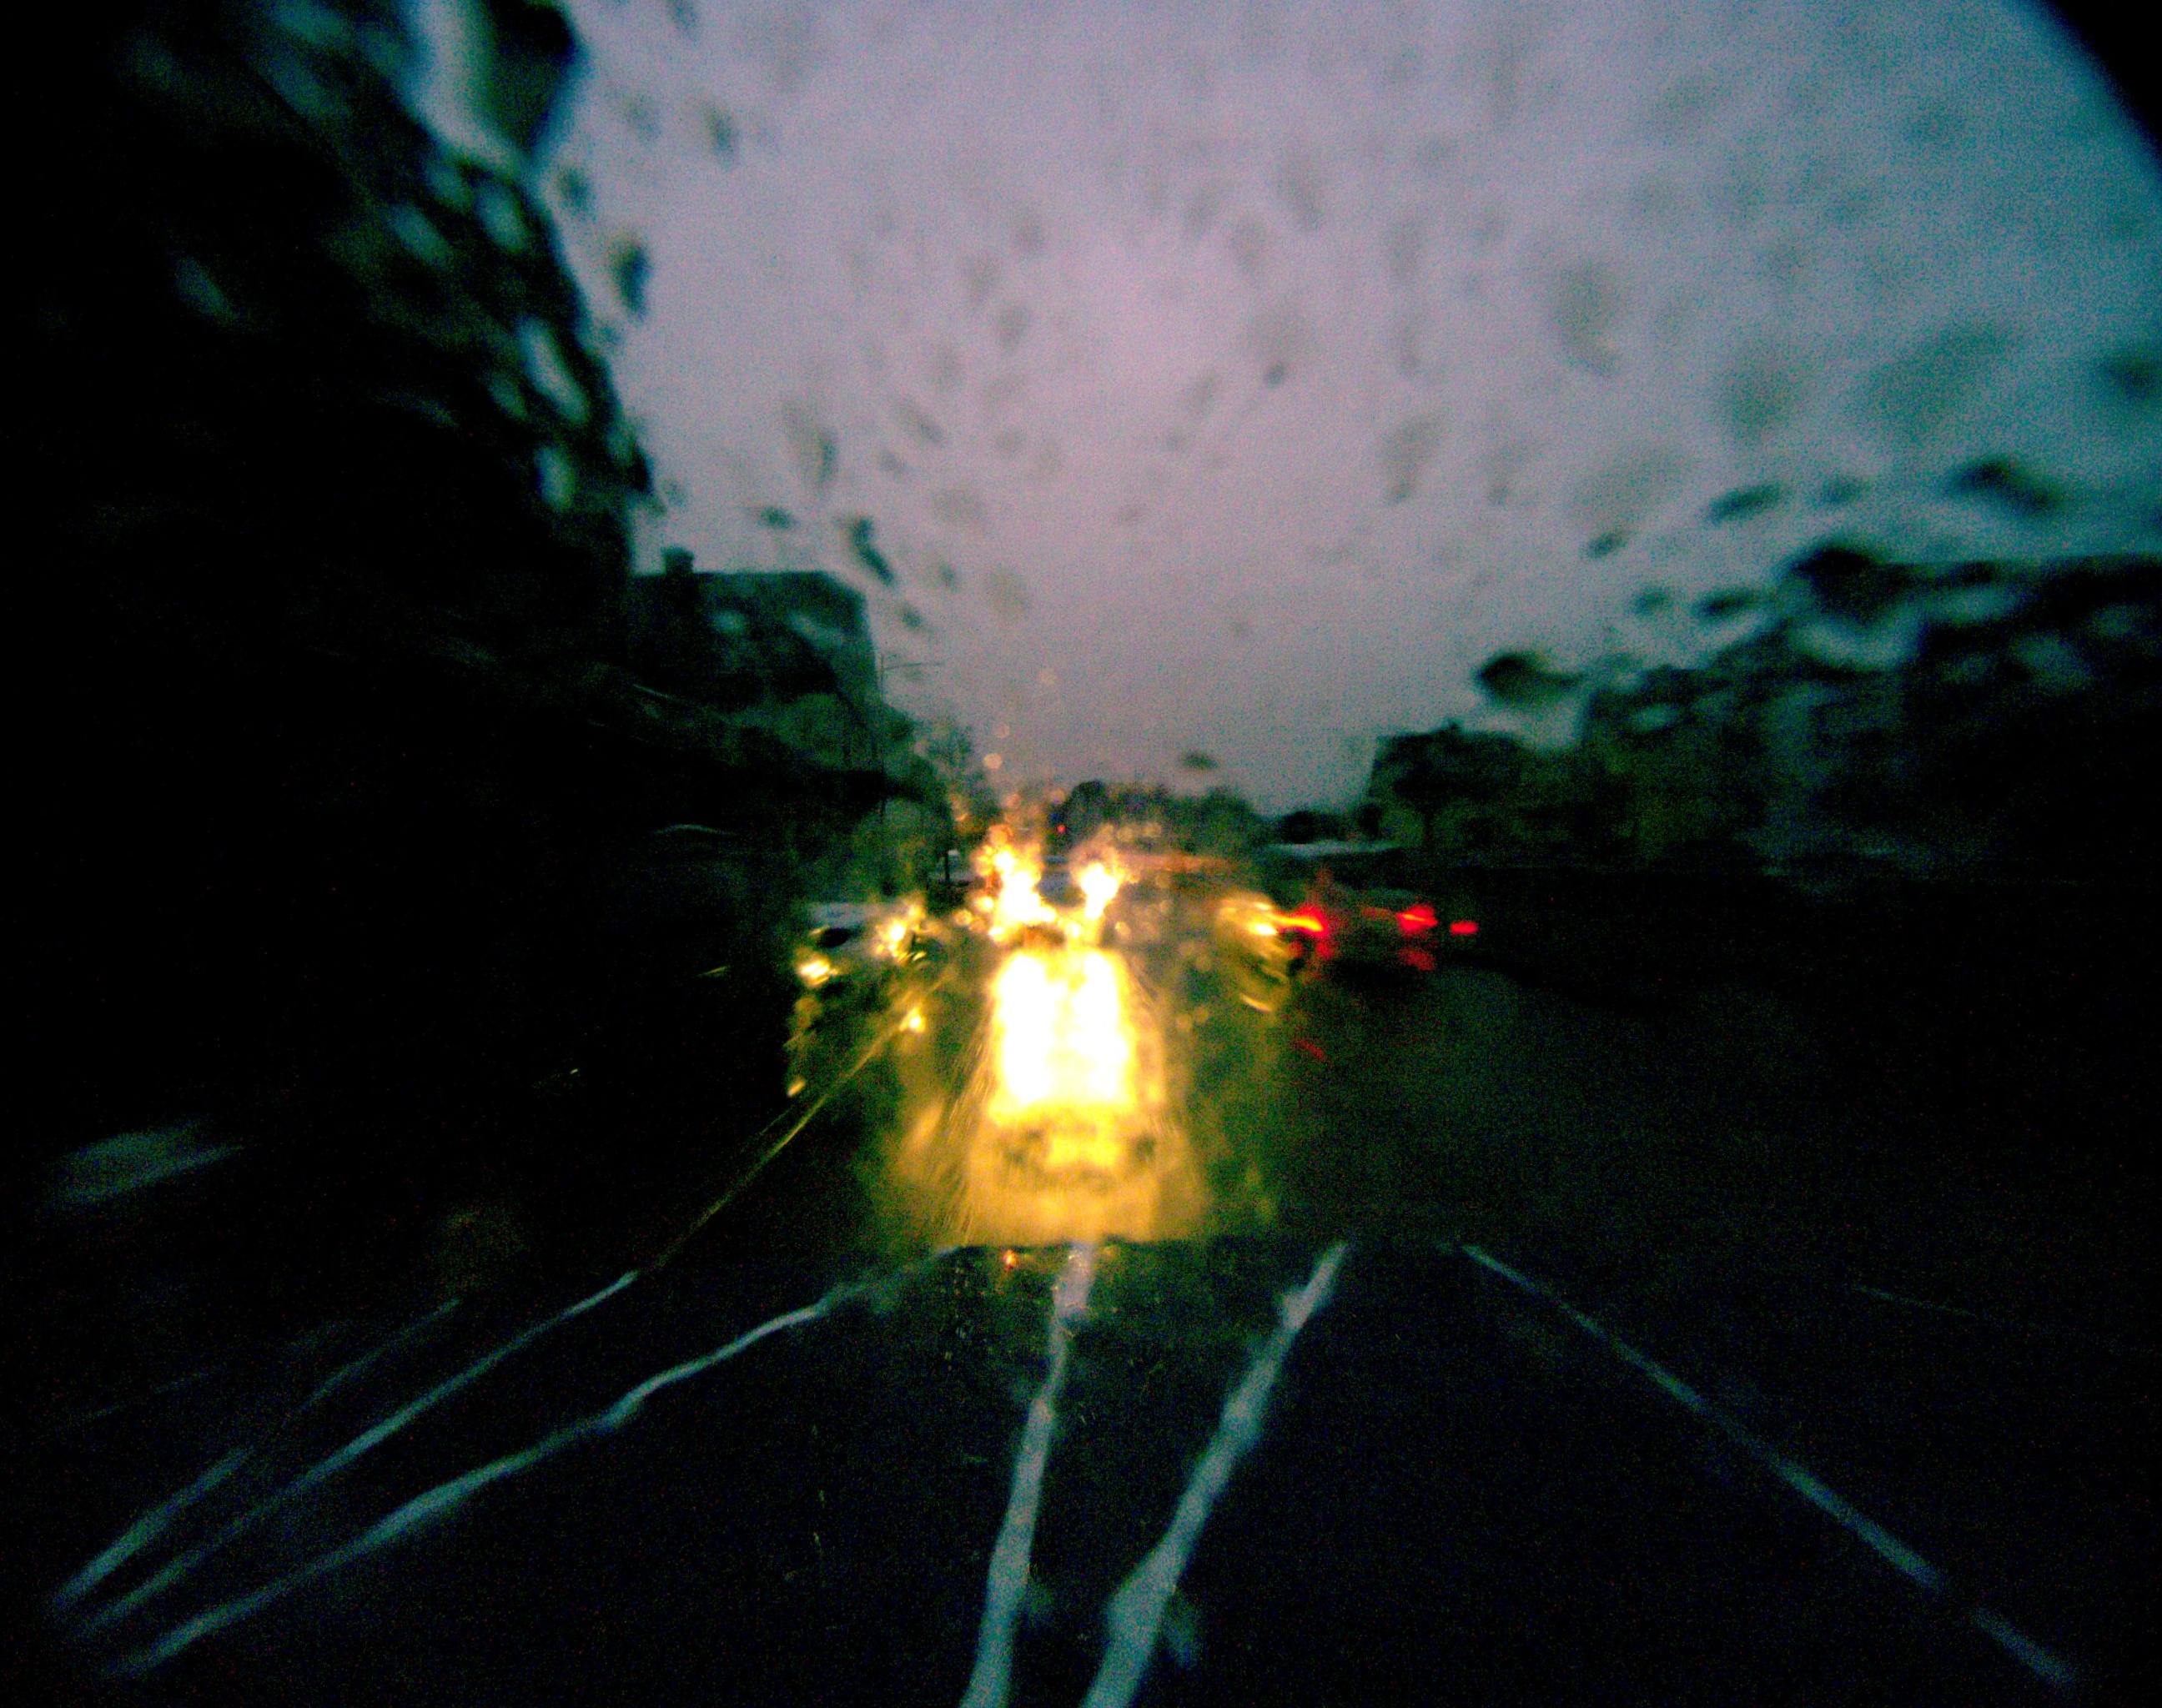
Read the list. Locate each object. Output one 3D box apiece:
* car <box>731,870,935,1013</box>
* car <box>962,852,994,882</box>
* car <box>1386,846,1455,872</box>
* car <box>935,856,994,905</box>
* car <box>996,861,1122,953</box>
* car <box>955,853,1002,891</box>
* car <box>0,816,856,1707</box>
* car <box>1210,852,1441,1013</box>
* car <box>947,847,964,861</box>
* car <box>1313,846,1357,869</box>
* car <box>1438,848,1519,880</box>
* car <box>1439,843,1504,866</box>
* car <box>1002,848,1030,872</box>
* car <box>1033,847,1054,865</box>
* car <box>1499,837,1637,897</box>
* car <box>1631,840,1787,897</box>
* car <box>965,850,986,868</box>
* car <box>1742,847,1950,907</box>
[{"bbox_3d":[-2.851,0.943,9.307,1.650,1.407,2.727,2,0,-2],"label":"car"},{"bbox_3d":[-5.796,0.664,42.804,1.670,1.567,4.493,-1,1,-7],"label":"car"},{"bbox_3d":[19.842,0.246,44.610,1.881,1.434,4.647,-1,1,-1],"label":"car"},{"bbox_3d":[-3.811,0.822,25.378,1.657,1.446,4.235,1,0,-5],"label":"car"},{"bbox_3d":[-0.596,0.962,15.500,2.000,1.526,3.997,-3,0,-9],"label":"car"},{"bbox_3d":[-4.847,0.789,36.010,1.963,1.524,5.005,-3,1,-7],"label":"car"},{"bbox_3d":[-2.610,0.789,3.498,1.773,1.771,4.000,2,0,2],"label":"car"},{"bbox_3d":[2.848,0.811,9.673,1.667,1.626,3.550,-1,0,-2],"label":"car"},{"bbox_3d":[-17.361,-0.016,105.073,1.918,1.780,4.560,0,0,-15],"label":"car"},{"bbox_3d":[19.413,0.251,58.323,1.821,1.615,3.984,-3,0,-2],"label":"car"},{"bbox_3d":[20.355,0.487,39.113,1.882,1.496,4.142,-1,1,-2],"label":"car"},{"bbox_3d":[29.534,0.038,57.619,4.033,1.515,1.815,-3,1,15],"label":"car"},{"bbox_3d":[-5.128,0.438,59.204,1.907,1.630,4.563,-4,1,-7],"label":"car"},{"bbox_3d":[-3.524,0.186,70.200,1.737,1.527,3.779,-3,1,-4],"label":"car"},{"bbox_3d":[15.744,0.370,24.817,1.805,1.793,3.858,-1,1,-5],"label":"car"},{"bbox_3d":[21.082,0.436,25.738,1.863,1.672,3.999,-3,1,-2],"label":"car"},{"bbox_3d":[-9.807,0.437,70.558,1.813,1.555,4.301,0,1,-8],"label":"car"},{"bbox_3d":[21.495,0.579,21.616,1.773,1.515,4.030,-1,1,-2],"label":"car"}]
